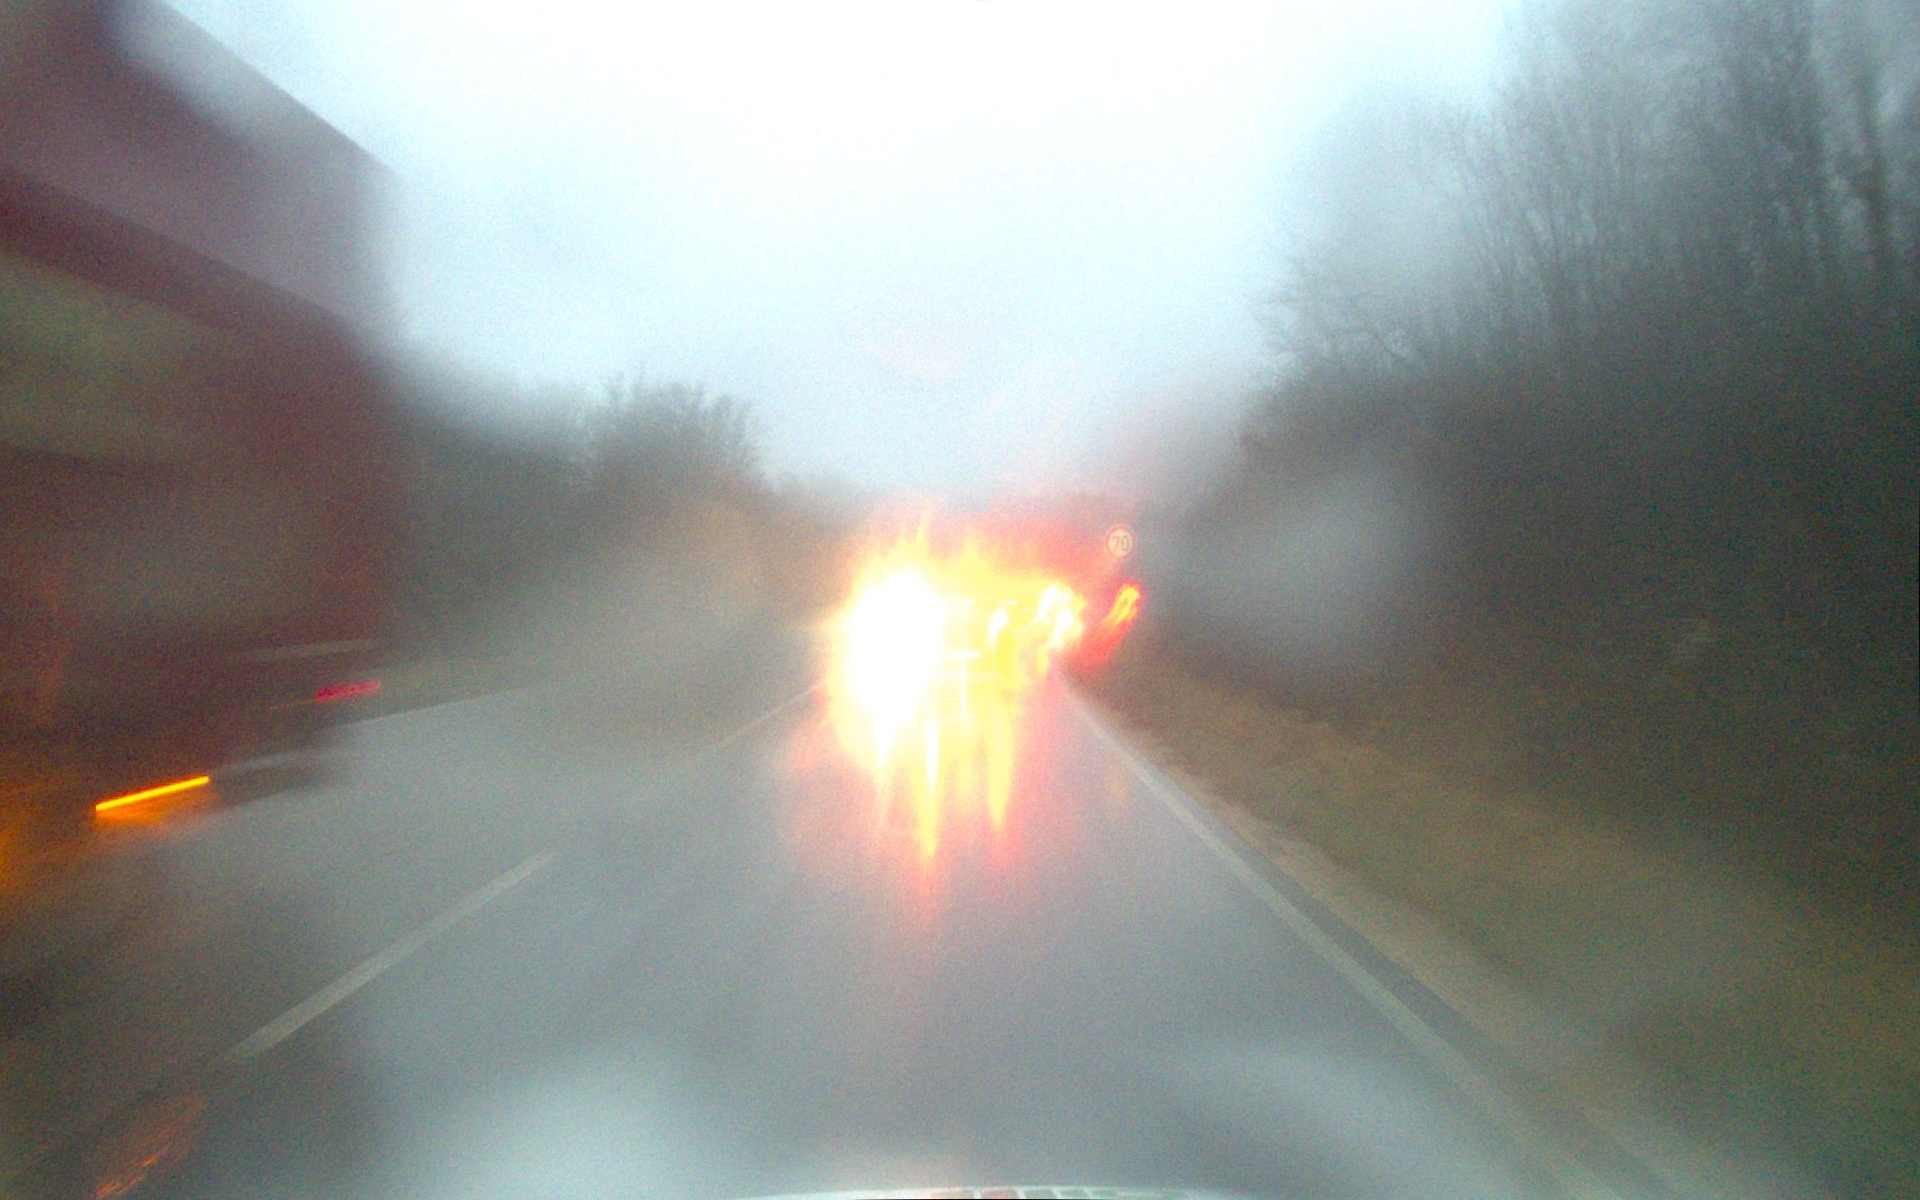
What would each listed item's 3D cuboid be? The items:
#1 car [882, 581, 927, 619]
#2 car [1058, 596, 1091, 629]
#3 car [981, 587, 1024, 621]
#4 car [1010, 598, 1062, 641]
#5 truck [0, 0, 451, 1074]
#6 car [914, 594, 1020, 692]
[{"bbox_3d":[-2.392,-0.019,71.976,1.728,1.523,4.103,2,1,1],"label":"car"},{"bbox_3d":[6.325,0.686,91.677,1.644,1.704,4.099,1,1,2],"label":"car"},{"bbox_3d":[2.074,0.189,82.222,1.964,1.583,4.517,3,0,0],"label":"car"},{"bbox_3d":[2.824,0.709,62.139,1.644,1.413,4.097,1,1,-1],"label":"car"},{"bbox_3d":[-4.087,-0.457,4.323,2.594,3.659,9.840,1,0,-1],"label":"truck"},{"bbox_3d":[0.054,0.689,28.833,1.599,1.445,4.170,3,1,-2],"label":"car"}]
